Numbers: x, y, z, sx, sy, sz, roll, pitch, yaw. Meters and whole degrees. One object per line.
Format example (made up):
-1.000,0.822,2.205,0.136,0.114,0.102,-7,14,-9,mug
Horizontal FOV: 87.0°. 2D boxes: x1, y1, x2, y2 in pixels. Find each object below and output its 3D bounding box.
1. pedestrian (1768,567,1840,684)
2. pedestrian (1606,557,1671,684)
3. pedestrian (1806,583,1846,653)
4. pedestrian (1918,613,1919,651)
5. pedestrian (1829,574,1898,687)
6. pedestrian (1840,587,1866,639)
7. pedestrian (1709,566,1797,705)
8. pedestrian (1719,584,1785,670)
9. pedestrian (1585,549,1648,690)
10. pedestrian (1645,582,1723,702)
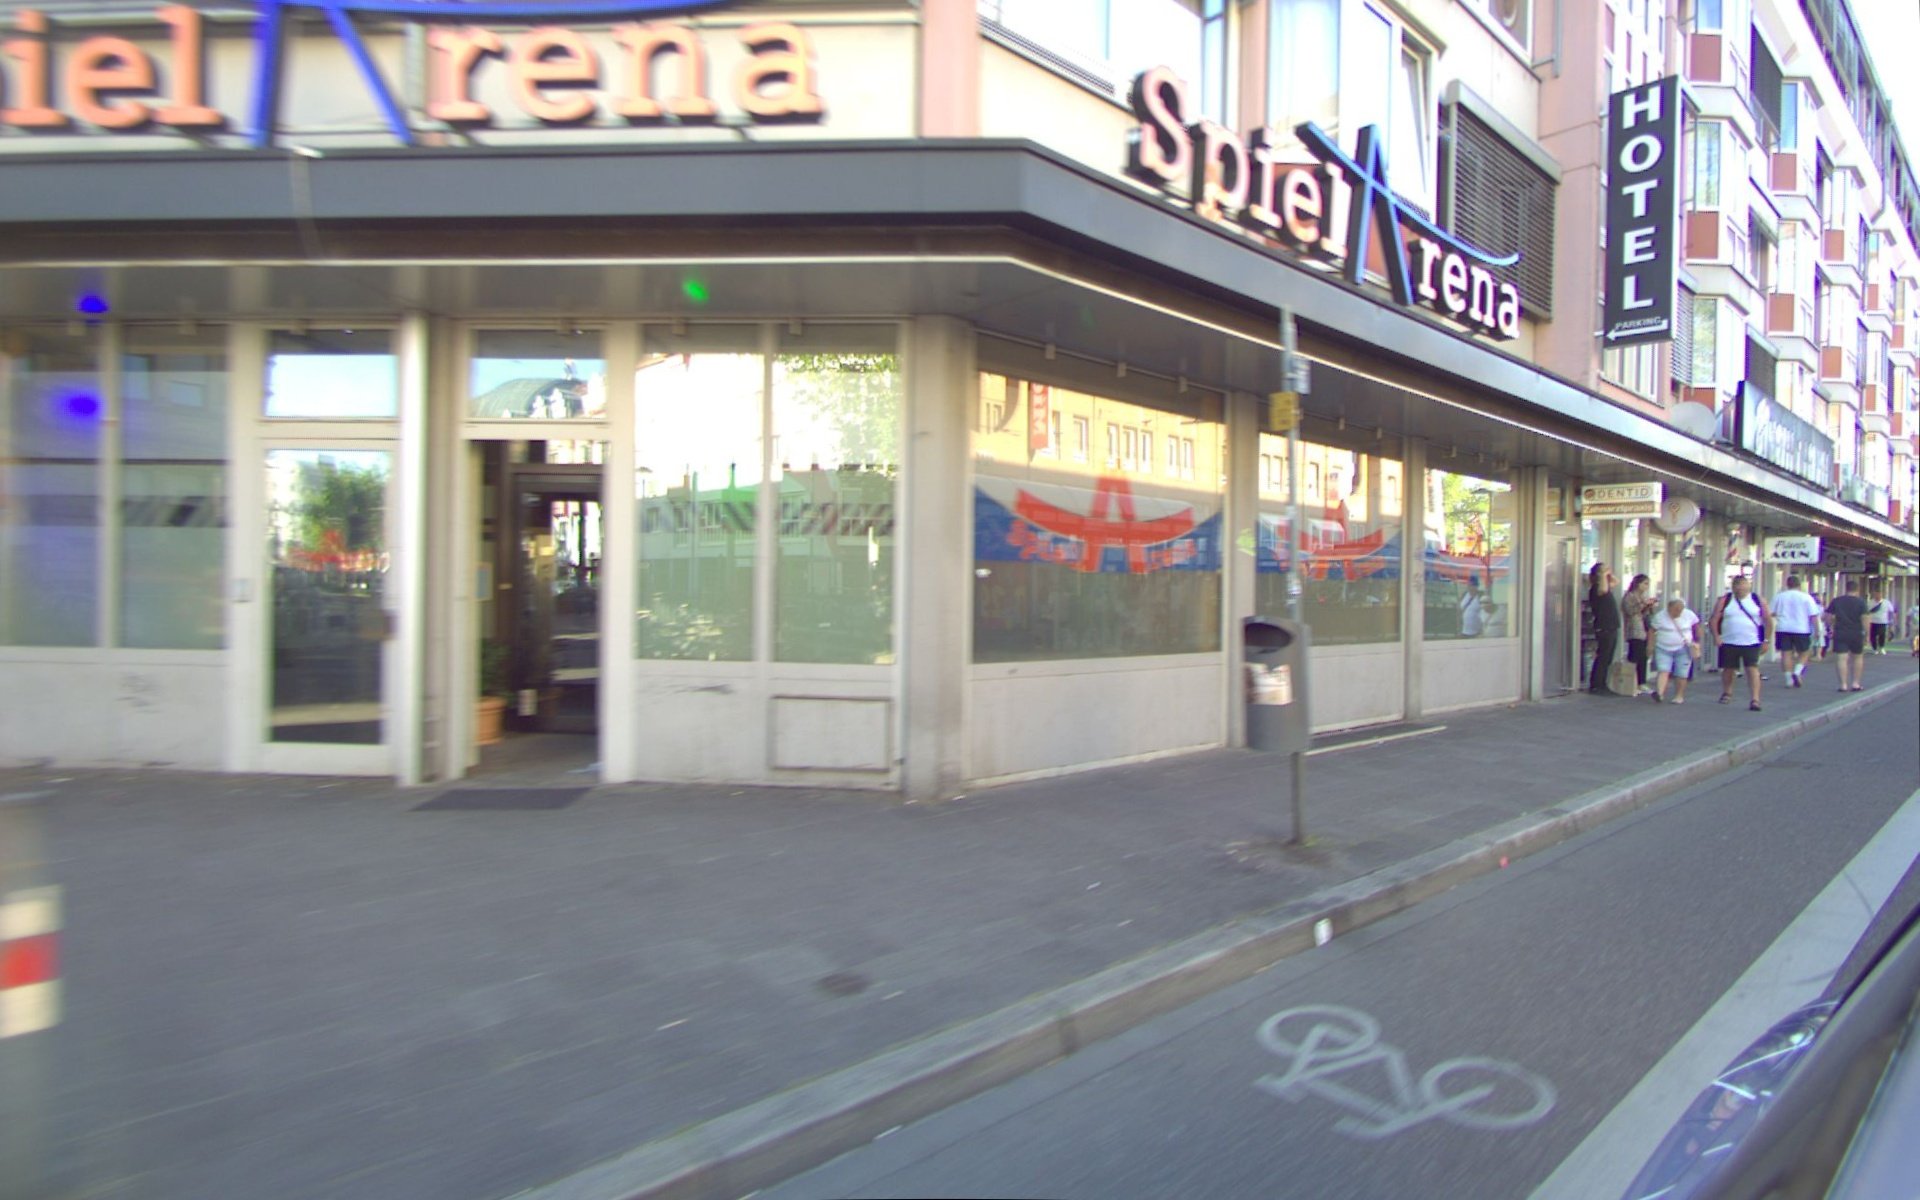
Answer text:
13.896,0.403,16.667,0.750,1.842,0.707,1,3,-41,pedestrian
9.851,0.284,14.692,0.492,1.791,0.630,1,1,-41,pedestrian
20.427,0.425,23.867,0.544,1.610,0.601,1,1,-41,pedestrian
26.519,0.567,27.452,0.693,1.650,0.664,1,2,-42,pedestrian
14.660,0.475,16.417,0.796,1.749,0.668,0,3,-42,pedestrian
29.048,0.424,32.915,0.512,1.653,0.517,1,0,-36,pedestrian
10.445,0.449,13.332,0.800,1.749,0.745,0,-1,-41,pedestrian
14.348,0.474,18.339,0.694,1.490,0.740,0,3,-40,pedestrian
9.001,0.254,13.872,0.797,1.872,0.452,1,1,-39,pedestrian
9.505,0.528,13.295,0.643,1.501,0.637,0,3,-42,pedestrian
